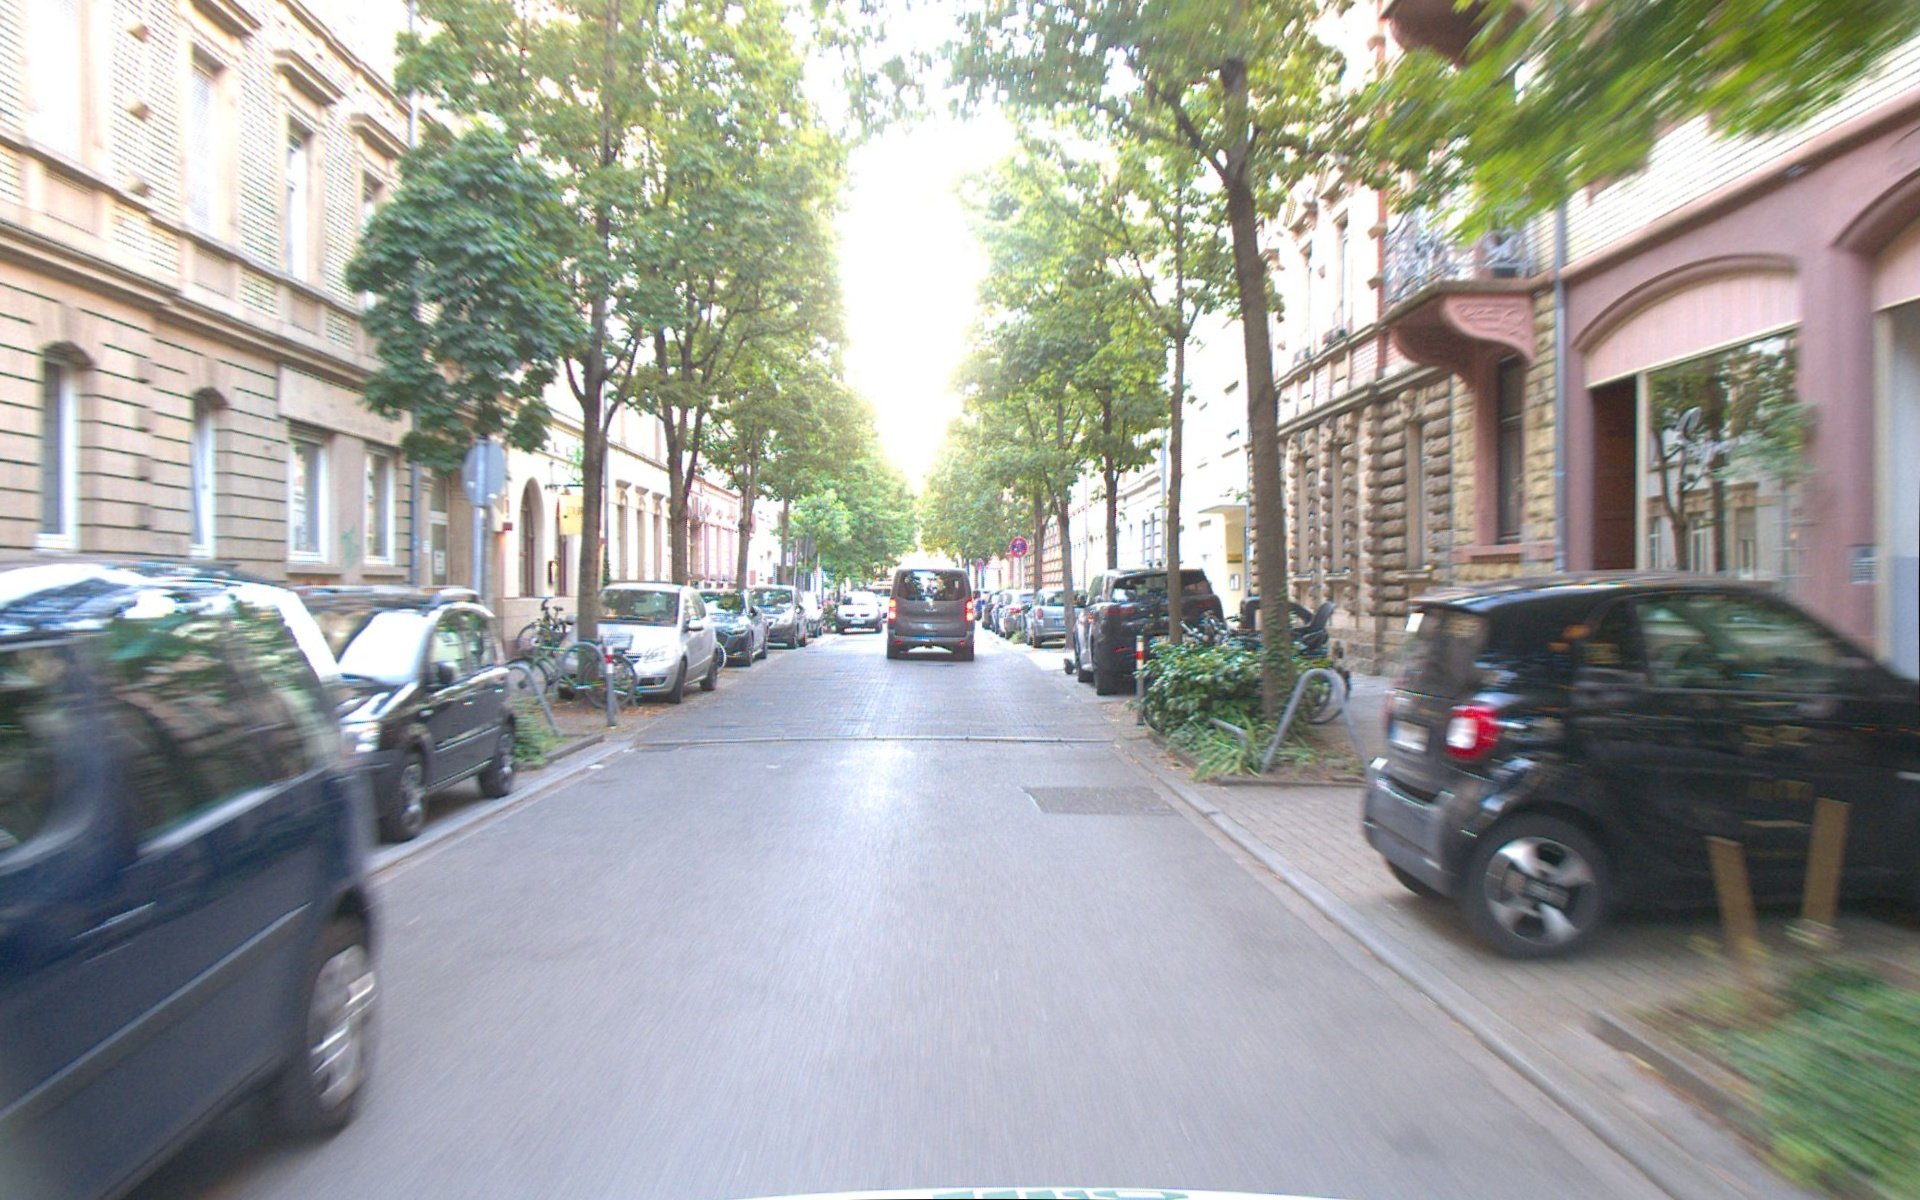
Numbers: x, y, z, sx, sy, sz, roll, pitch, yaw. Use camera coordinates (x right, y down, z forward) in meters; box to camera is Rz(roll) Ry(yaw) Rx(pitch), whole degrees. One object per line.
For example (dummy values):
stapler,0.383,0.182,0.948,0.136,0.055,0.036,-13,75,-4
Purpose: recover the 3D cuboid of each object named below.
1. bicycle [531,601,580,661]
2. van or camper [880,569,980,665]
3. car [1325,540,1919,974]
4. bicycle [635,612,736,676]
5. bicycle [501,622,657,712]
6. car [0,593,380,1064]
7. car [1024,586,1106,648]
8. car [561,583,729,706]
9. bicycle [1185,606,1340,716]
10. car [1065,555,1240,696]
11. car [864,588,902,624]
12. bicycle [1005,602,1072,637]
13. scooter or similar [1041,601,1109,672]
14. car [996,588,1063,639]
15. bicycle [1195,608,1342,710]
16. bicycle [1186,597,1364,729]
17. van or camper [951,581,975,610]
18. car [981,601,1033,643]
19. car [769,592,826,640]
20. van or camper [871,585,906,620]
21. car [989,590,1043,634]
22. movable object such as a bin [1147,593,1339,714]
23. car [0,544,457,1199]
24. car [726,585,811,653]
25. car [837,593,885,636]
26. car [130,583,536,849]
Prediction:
bicycle,-7.814,0.578,31.984,0.515,1.116,1.795,0,0,0
van or camper,-0.584,0.338,35.650,1.993,1.931,4.271,0,0,1
car,3.286,0.607,7.576,2.741,1.627,1.800,-3,0,-1
bicycle,-4.783,0.766,28.840,1.649,1.021,0.430,3,0,0
bicycle,-4.782,0.845,20.775,1.836,1.078,0.593,2,0,-21
car,-4.001,0.749,7.285,1.657,1.528,3.710,1,0,-2
car,2.658,0.393,42.816,1.723,1.488,4.306,-1,0,-2
car,-4.511,0.587,24.188,1.641,1.635,3.862,1,0,1
bicycle,3.421,0.685,18.798,1.661,1.219,0.582,0,0,2
car,2.833,0.336,25.405,1.973,1.865,4.810,-3,0,-1
car,-3.544,0.244,75.948,1.630,1.590,3.997,-1,0,-4
bicycle,2.335,0.570,49.113,1.889,0.999,0.634,0,0,-23
scooter or similar,2.056,0.650,29.617,0.663,1.211,1.111,-3,-1,38
car,2.145,0.387,52.008,1.682,1.502,4.366,-2,0,-3
bicycle,3.608,0.686,19.427,1.623,1.163,0.582,0,0,2
bicycle,3.400,0.665,17.980,1.726,1.316,0.801,-3,0,-2
van or camper,0.248,-0.430,154.195,1.953,2.644,5.422,0,0,-2
car,1.744,0.804,62.587,1.731,1.439,4.473,-2,0,-1
car,-5.269,0.489,53.830,1.555,1.462,3.565,1,0,-1
van or camper,-3.956,0.120,91.202,1.839,1.875,4.750,-1,0,-3
car,1.924,0.402,57.613,1.603,1.449,3.563,-1,0,-2
movable object such as a bin,3.448,0.638,20.294,2.170,1.328,0.771,-3,0,1
car,-2.482,0.705,3.370,1.689,1.601,4.219,0,0,-1
car,-4.854,0.443,42.303,1.671,1.608,4.078,1,1,0
car,-3.480,0.502,58.488,1.548,1.445,3.752,-1,0,-1
car,-4.115,0.675,11.442,1.488,1.528,3.560,1,0,-1
